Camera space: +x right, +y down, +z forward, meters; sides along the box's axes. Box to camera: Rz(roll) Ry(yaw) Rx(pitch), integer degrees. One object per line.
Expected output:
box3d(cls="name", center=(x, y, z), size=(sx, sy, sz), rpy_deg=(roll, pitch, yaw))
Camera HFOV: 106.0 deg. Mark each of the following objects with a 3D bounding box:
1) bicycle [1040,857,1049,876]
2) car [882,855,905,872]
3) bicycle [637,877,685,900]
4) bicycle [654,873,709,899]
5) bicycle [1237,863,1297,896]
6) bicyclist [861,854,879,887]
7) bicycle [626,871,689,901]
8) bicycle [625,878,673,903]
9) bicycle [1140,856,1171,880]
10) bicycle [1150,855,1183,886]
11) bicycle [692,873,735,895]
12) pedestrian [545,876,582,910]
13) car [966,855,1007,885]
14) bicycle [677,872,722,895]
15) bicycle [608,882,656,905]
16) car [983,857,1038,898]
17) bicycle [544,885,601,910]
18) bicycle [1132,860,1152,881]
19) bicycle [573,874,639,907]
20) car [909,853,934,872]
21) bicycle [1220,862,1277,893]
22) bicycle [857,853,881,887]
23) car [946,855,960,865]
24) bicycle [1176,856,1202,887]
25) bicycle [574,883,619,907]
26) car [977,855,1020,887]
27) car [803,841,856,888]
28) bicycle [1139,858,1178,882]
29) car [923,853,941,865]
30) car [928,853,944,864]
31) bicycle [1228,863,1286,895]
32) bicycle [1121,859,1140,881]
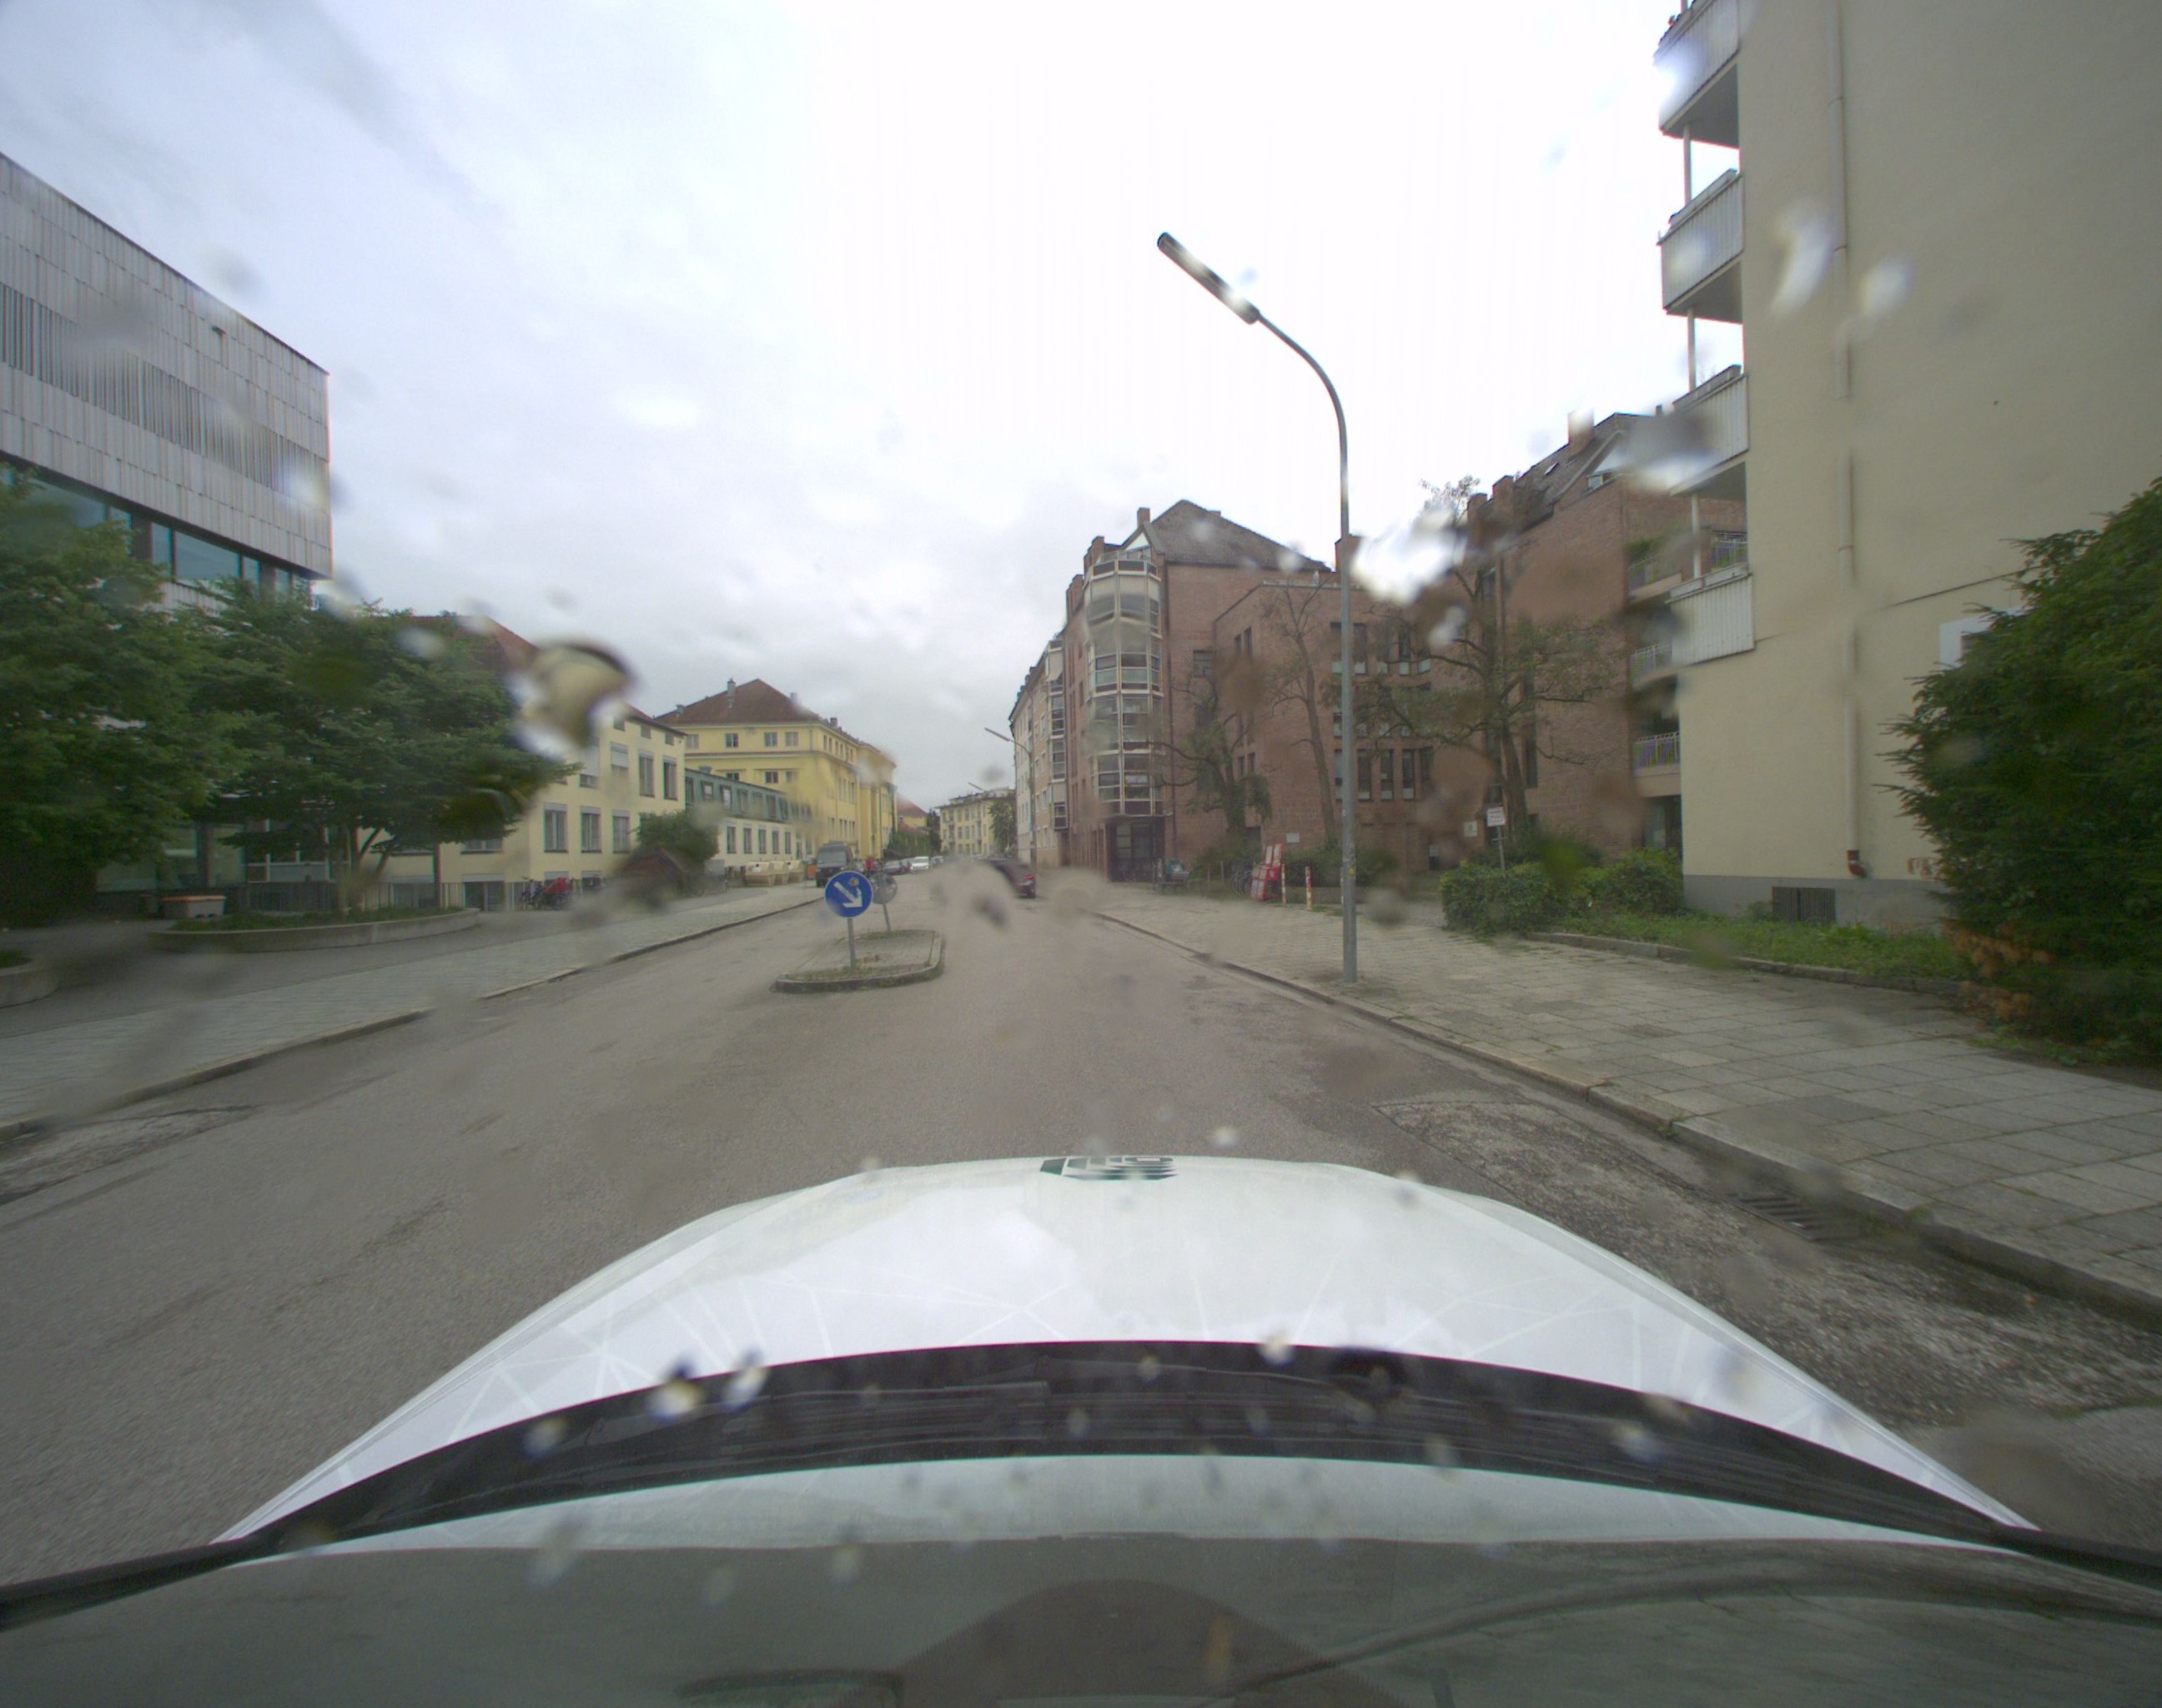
box3d(cls="bicycle", center=(-2.683, 0.899, 59.640), size=(0.468, 1.288, 2.667), rpy_deg=(0, 1, -8))
box3d(cls="car", center=(-17.915, 0.882, 77.922), size=(1.770, 1.550, 3.770), rpy_deg=(0, 1, -6))
box3d(cls="bicycle", center=(-18.723, 1.535, 36.350), size=(1.860, 1.029, 0.540), rpy_deg=(0, 1, 0))
box3d(cls="bicycle", center=(-18.630, 1.485, 38.013), size=(2.302, 1.135, 0.581), rpy_deg=(0, 1, 0))
box3d(cls="bicycle", center=(5.636, 0.758, 24.662), size=(1.700, 0.965, 0.544), rpy_deg=(0, 1, -9))
box3d(cls="bicyclist", center=(-13.272, 1.046, 51.191), size=(0.765, 2.013, 0.767), rpy_deg=(-5, 1, -4))
box3d(cls="bicycle", center=(-18.590, 1.411, 35.770), size=(2.545, 1.206, 0.424), rpy_deg=(-2, 0, 0))
box3d(cls="bicycle", center=(-18.560, 1.579, 35.016), size=(1.784, 1.033, 0.507), rpy_deg=(0, 1, 0))
box3d(cls="bicycle", center=(3.652, 0.681, 39.890), size=(1.473, 1.147, 0.382), rpy_deg=(0, 0, -4))
box3d(cls="bicycle", center=(3.543, 0.678, 33.881), size=(0.535, 1.248, 2.401), rpy_deg=(0, -1, -15))
box3d(cls="bicycle", center=(-18.992, 1.540, 42.074), size=(1.898, 1.092, 0.678), rpy_deg=(0, 1, 1))
box3d(cls="pedestrian", center=(-18.871, 1.422, 29.698), size=(0.717, 1.163, 1.039), rpy_deg=(0, 1, -4))
box3d(cls="car", center=(-5.650, 0.896, 48.213), size=(1.966, 1.602, 4.651), rpy_deg=(0, 1, -13))
box3d(cls="bicycle", center=(-18.916, 1.456, 40.438), size=(1.950, 1.131, 0.573), rpy_deg=(0, 1, 0))
box3d(cls="bicycle", center=(-18.392, 1.617, 33.371), size=(1.669, 0.916, 0.595), rpy_deg=(0, 1, 1))
box3d(cls="car", center=(-2.911, 0.889, 32.921), size=(1.924, 1.512, 4.378), rpy_deg=(0, 0, -9))
box3d(cls="bicycle", center=(-18.124, 1.547, 29.013), size=(1.715, 0.862, 0.439), rpy_deg=(0, 1, -3))
box3d(cls="bicycle", center=(3.087, 0.819, 41.097), size=(0.486, 1.060, 1.988), rpy_deg=(0, 0, -11))
box3d(cls="bicycle", center=(-18.513, 1.421, 31.783), size=(2.097, 1.227, 0.787), rpy_deg=(0, 1, 1))
box3d(cls="car", center=(-15.513, 0.873, 79.202), size=(2.025, 1.621, 4.492), rpy_deg=(-3, -1, -8))
box3d(cls="bicycle", center=(5.375, 0.751, 26.120), size=(1.700, 0.965, 0.544), rpy_deg=(0, 1, -9))
box3d(cls="bicycle", center=(-13.237, 0.965, 50.935), size=(0.746, 2.013, 2.844), rpy_deg=(-4, 1, -3))
box3d(cls="car", center=(-20.407, 0.942, 129.666), size=(1.991, 1.548, 3.992), rpy_deg=(0, 1, -6))
box3d(cls="bicycle", center=(4.255, 0.690, 31.986), size=(0.416, 1.173, 1.370), rpy_deg=(1, 1, 35))
box3d(cls="bicycle", center=(-17.902, 1.504, 30.083), size=(1.368, 0.862, 0.439), rpy_deg=(0, 1, -3))
box3d(cls="car", center=(-4.455, 0.864, 43.577), size=(1.832, 1.602, 4.248), rpy_deg=(0, 1, -13))
box3d(cls="car", center=(-15.784, 0.661, 51.435), size=(2.422, 2.715, 5.931), rpy_deg=(-3, -1, -10))
box3d(cls="bicycle", center=(3.756, 0.762, 39.449), size=(1.844, 1.147, 0.487), rpy_deg=(0, 0, -4))
box3d(cls="car", center=(-19.483, 0.659, 106.693), size=(1.991, 1.548, 3.992), rpy_deg=(0, 1, -6))
box3d(cls="car", center=(-20.634, 0.631, 116.037), size=(1.991, 1.548, 3.992), rpy_deg=(0, 1, -6))
box3d(cls="bicycle", center=(5.484, 0.770, 25.458), size=(1.700, 0.965, 0.544), rpy_deg=(0, 1, -9))
box3d(cls="bicycle", center=(2.488, 0.798, 40.968), size=(0.486, 1.060, 1.988), rpy_deg=(0, -1, -11))
